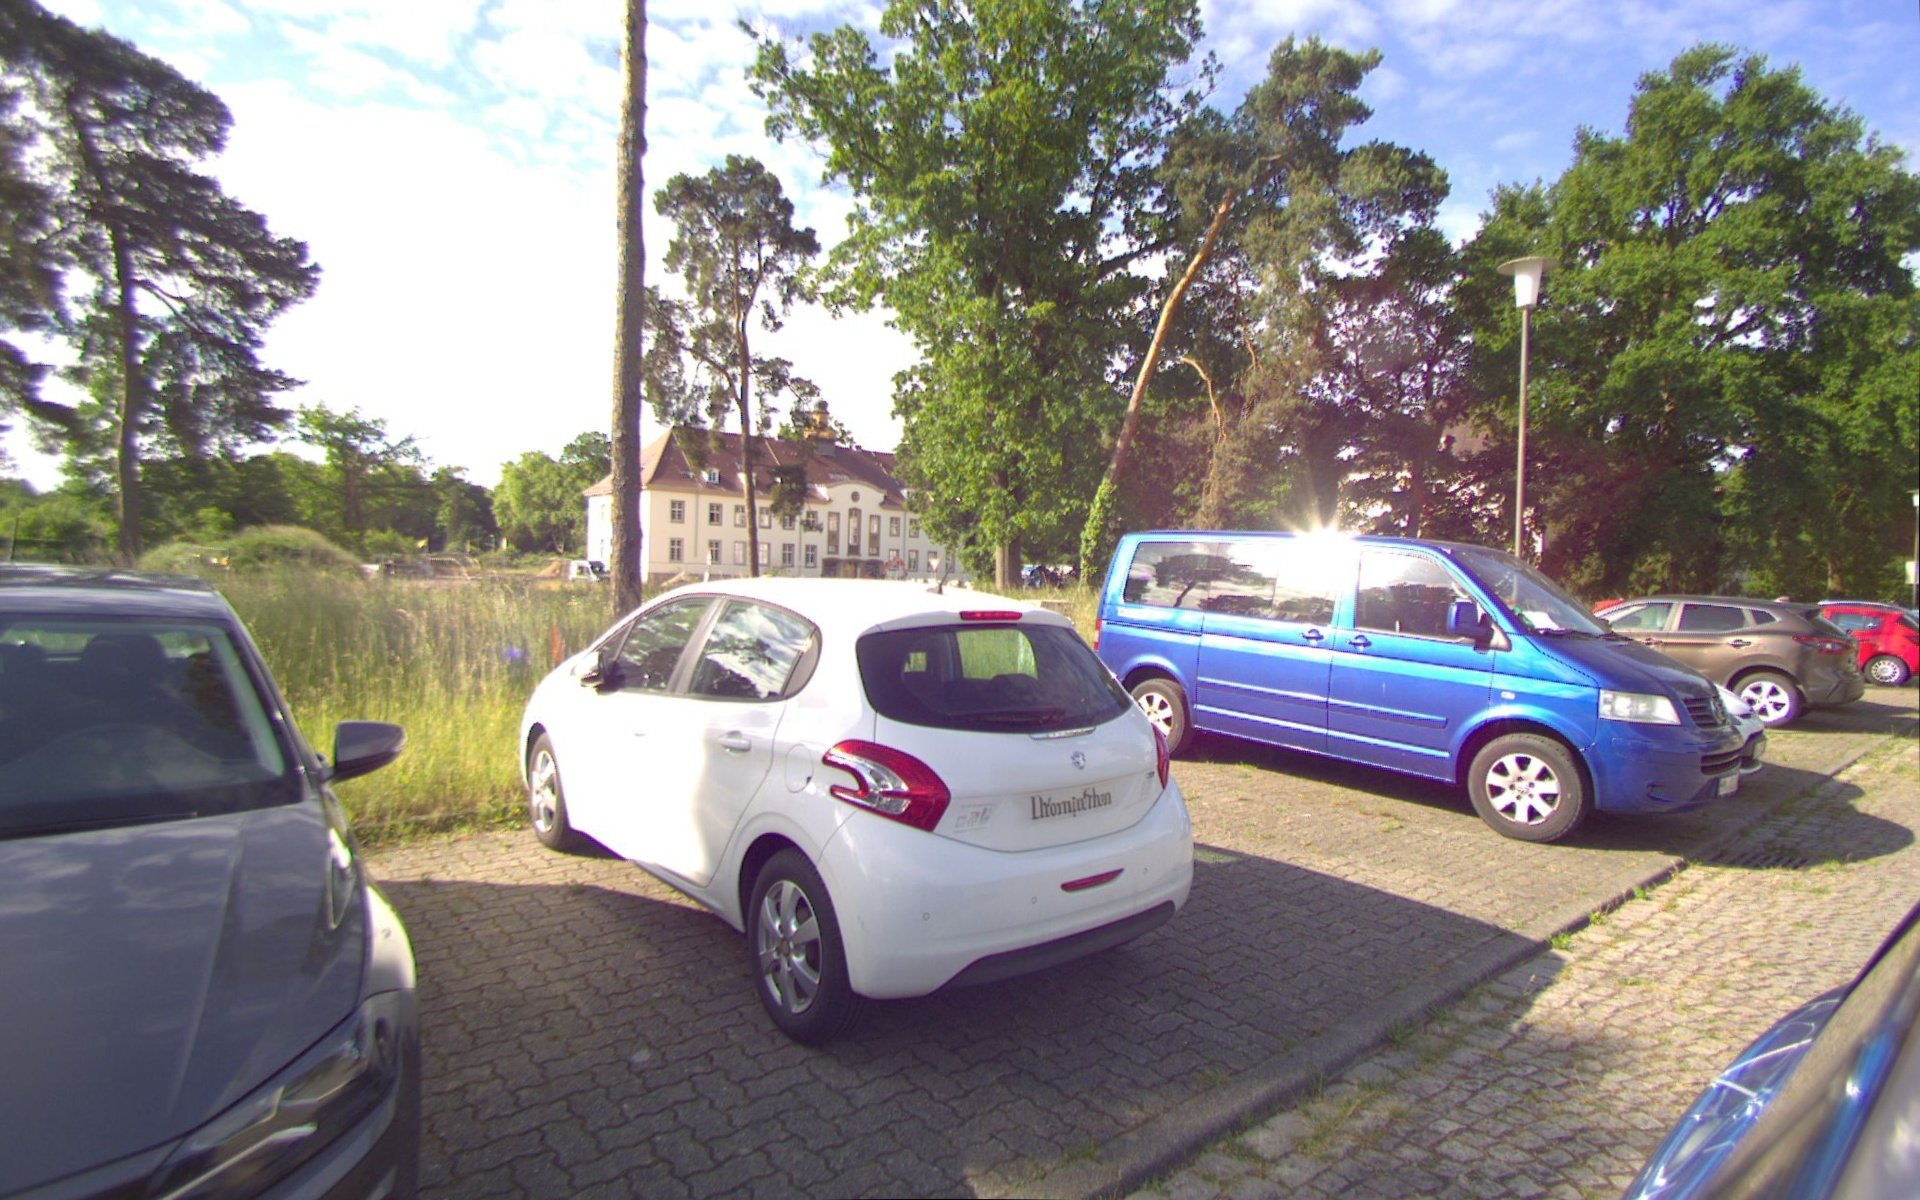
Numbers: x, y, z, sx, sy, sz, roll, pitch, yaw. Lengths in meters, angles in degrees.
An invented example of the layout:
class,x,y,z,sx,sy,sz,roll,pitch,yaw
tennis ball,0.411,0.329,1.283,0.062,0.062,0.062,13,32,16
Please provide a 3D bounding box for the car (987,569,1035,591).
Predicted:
class,x,y,z,sx,sy,sz,roll,pitch,yaw
car,4.708,-1.804,93.313,4.317,1.963,1.905,-1,0,-39

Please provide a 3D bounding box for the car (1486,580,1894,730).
class,x,y,z,sx,sy,sz,roll,pitch,yaw
car,9.840,0.597,13.894,1.902,1.617,4.232,0,3,-43

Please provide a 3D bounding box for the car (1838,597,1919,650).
class,x,y,z,sx,sy,sz,roll,pitch,yaw
car,28.805,0.761,29.910,1.754,1.440,4.096,1,3,-41

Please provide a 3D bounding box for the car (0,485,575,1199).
class,x,y,z,sx,sy,sz,roll,pitch,yaw
car,-2.512,0.484,2.475,1.823,1.466,3.717,1,3,-39

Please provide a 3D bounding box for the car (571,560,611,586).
class,x,y,z,sx,sy,sz,roll,pitch,yaw
car,-34.378,-2.489,94.200,1.967,2.240,4.423,0,0,-44

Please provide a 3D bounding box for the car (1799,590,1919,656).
class,x,y,z,sx,sy,sz,roll,pitch,yaw
car,25.266,0.653,27.030,1.821,1.576,4.095,1,3,-41

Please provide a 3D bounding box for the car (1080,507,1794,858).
class,x,y,z,sx,sy,sz,roll,pitch,yaw
car,3.386,0.329,8.074,1.965,1.959,4.709,0,3,-40

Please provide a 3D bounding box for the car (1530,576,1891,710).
class,x,y,z,sx,sy,sz,roll,pitch,yaw
car,11.627,0.540,15.904,1.902,1.617,4.233,0,4,-43

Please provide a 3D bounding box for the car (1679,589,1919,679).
class,x,y,z,sx,sy,sz,roll,pitch,yaw
car,17.442,0.643,20.726,1.821,1.477,4.095,1,3,-41

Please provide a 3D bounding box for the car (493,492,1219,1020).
class,x,y,z,sx,sy,sz,roll,pitch,yaw
car,-0.832,0.358,4.952,1.729,1.553,3.717,1,3,-39

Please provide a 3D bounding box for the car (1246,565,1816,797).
class,x,y,z,sx,sy,sz,roll,pitch,yaw
car,5.250,0.552,9.851,1.905,1.596,4.408,0,3,-40

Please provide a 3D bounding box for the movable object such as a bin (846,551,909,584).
class,x,y,z,sx,sy,sz,roll,pitch,yaw
movable object such as a bin,-8.859,-3.506,109.434,6.338,3.342,2.862,-1,0,7
